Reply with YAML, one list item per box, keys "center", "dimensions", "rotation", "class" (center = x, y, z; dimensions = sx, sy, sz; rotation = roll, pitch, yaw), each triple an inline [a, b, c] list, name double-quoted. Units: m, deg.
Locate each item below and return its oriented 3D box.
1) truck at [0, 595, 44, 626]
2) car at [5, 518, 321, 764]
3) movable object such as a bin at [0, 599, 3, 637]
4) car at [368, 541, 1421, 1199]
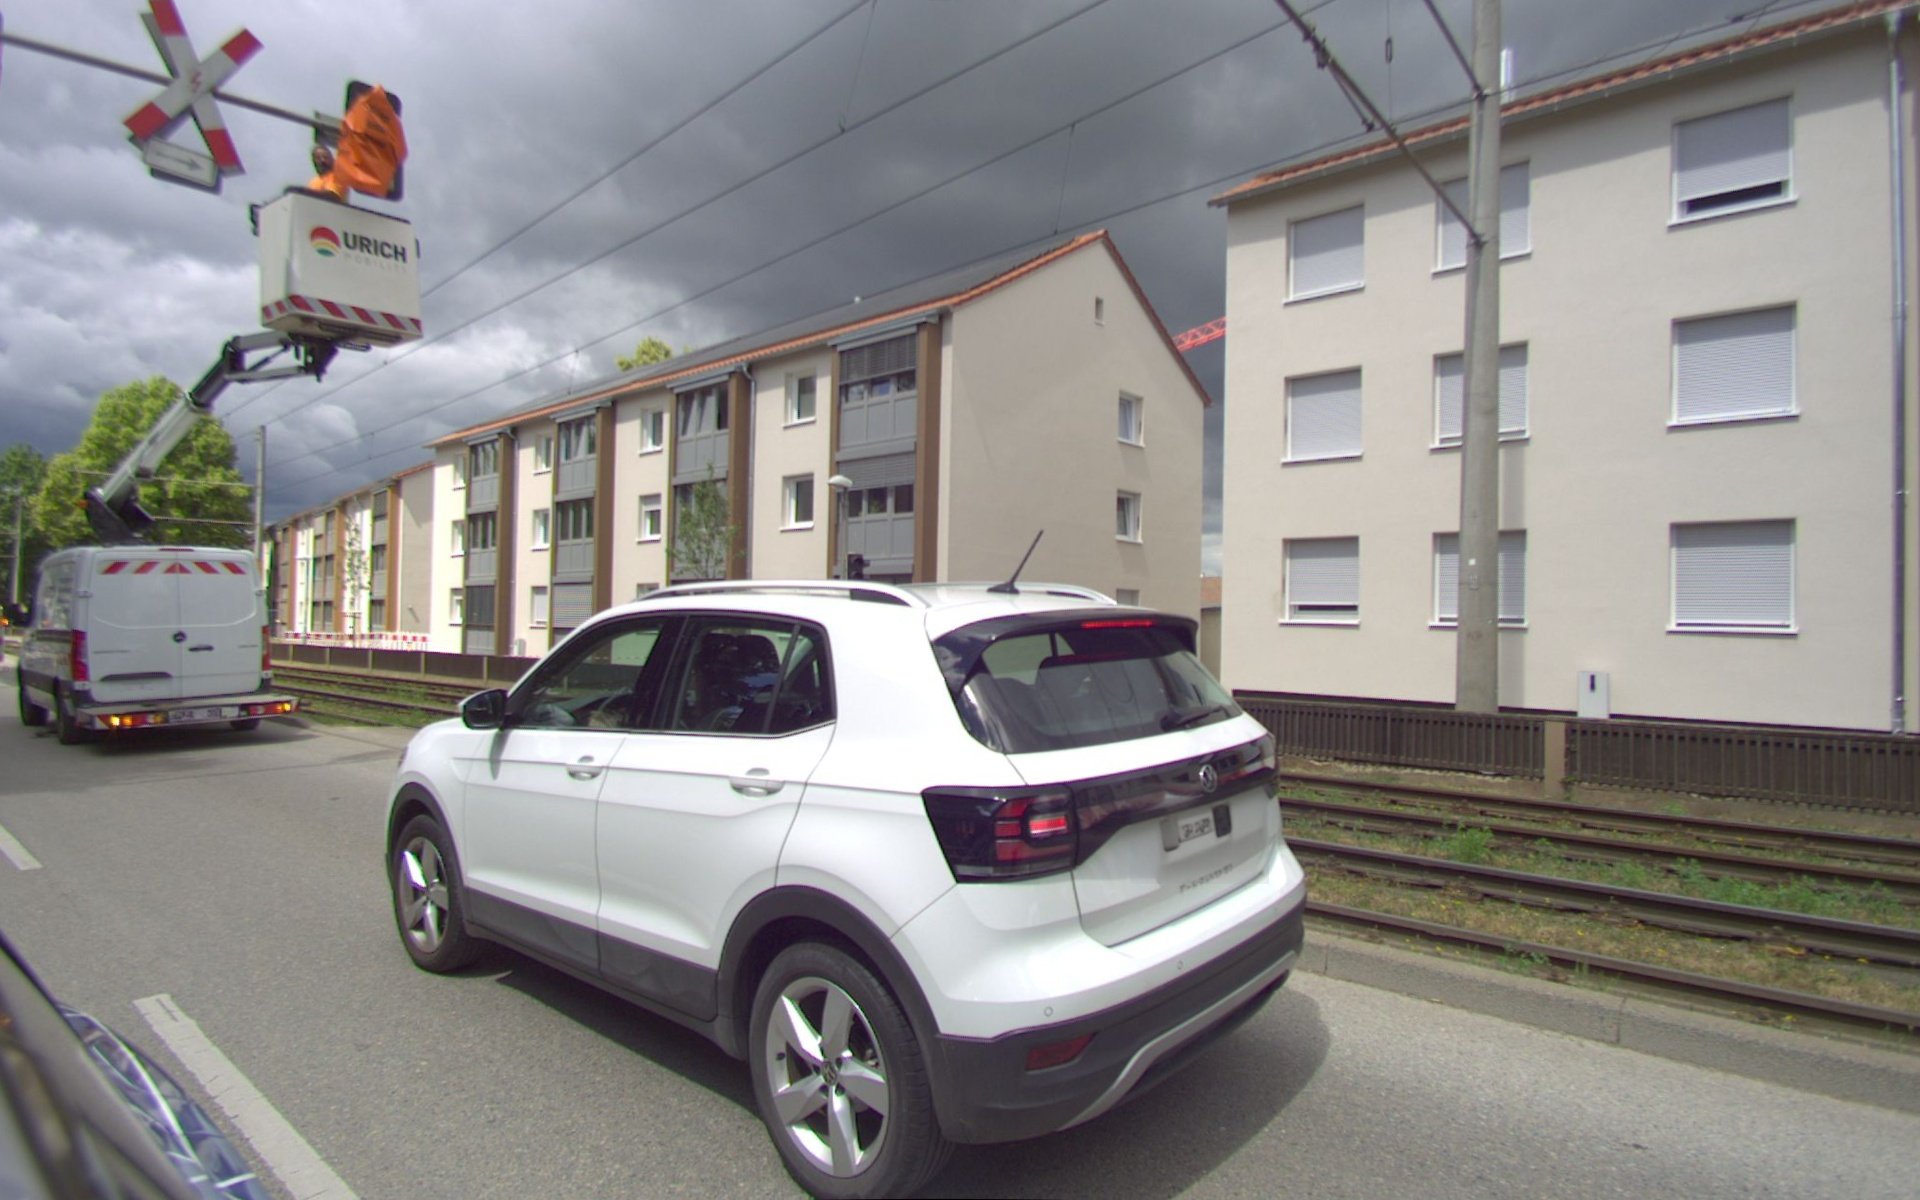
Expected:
- center: [-84.016, 0.940, 89.467]
  dimensions: [2.378, 2.588, 5.600]
  rotation: [1, -2, -19]
  class: "truck"
- center: [-10.352, 0.463, 12.890]
  dimensions: [6.317, 2.449, 1.973]
  rotation: [-1, -1, 41]
  class: "car"
- center: [-114.391, 1.995, 117.271]
  dimensions: [2.777, 4.570, 6.229]
  rotation: [2, -3, -21]
  class: "movable object such as a bin"
- center: [-0.603, 0.701, 3.793]
  dimensions: [3.916, 1.564, 1.699]
  rotation: [-1, -1, 42]
  class: "car"
